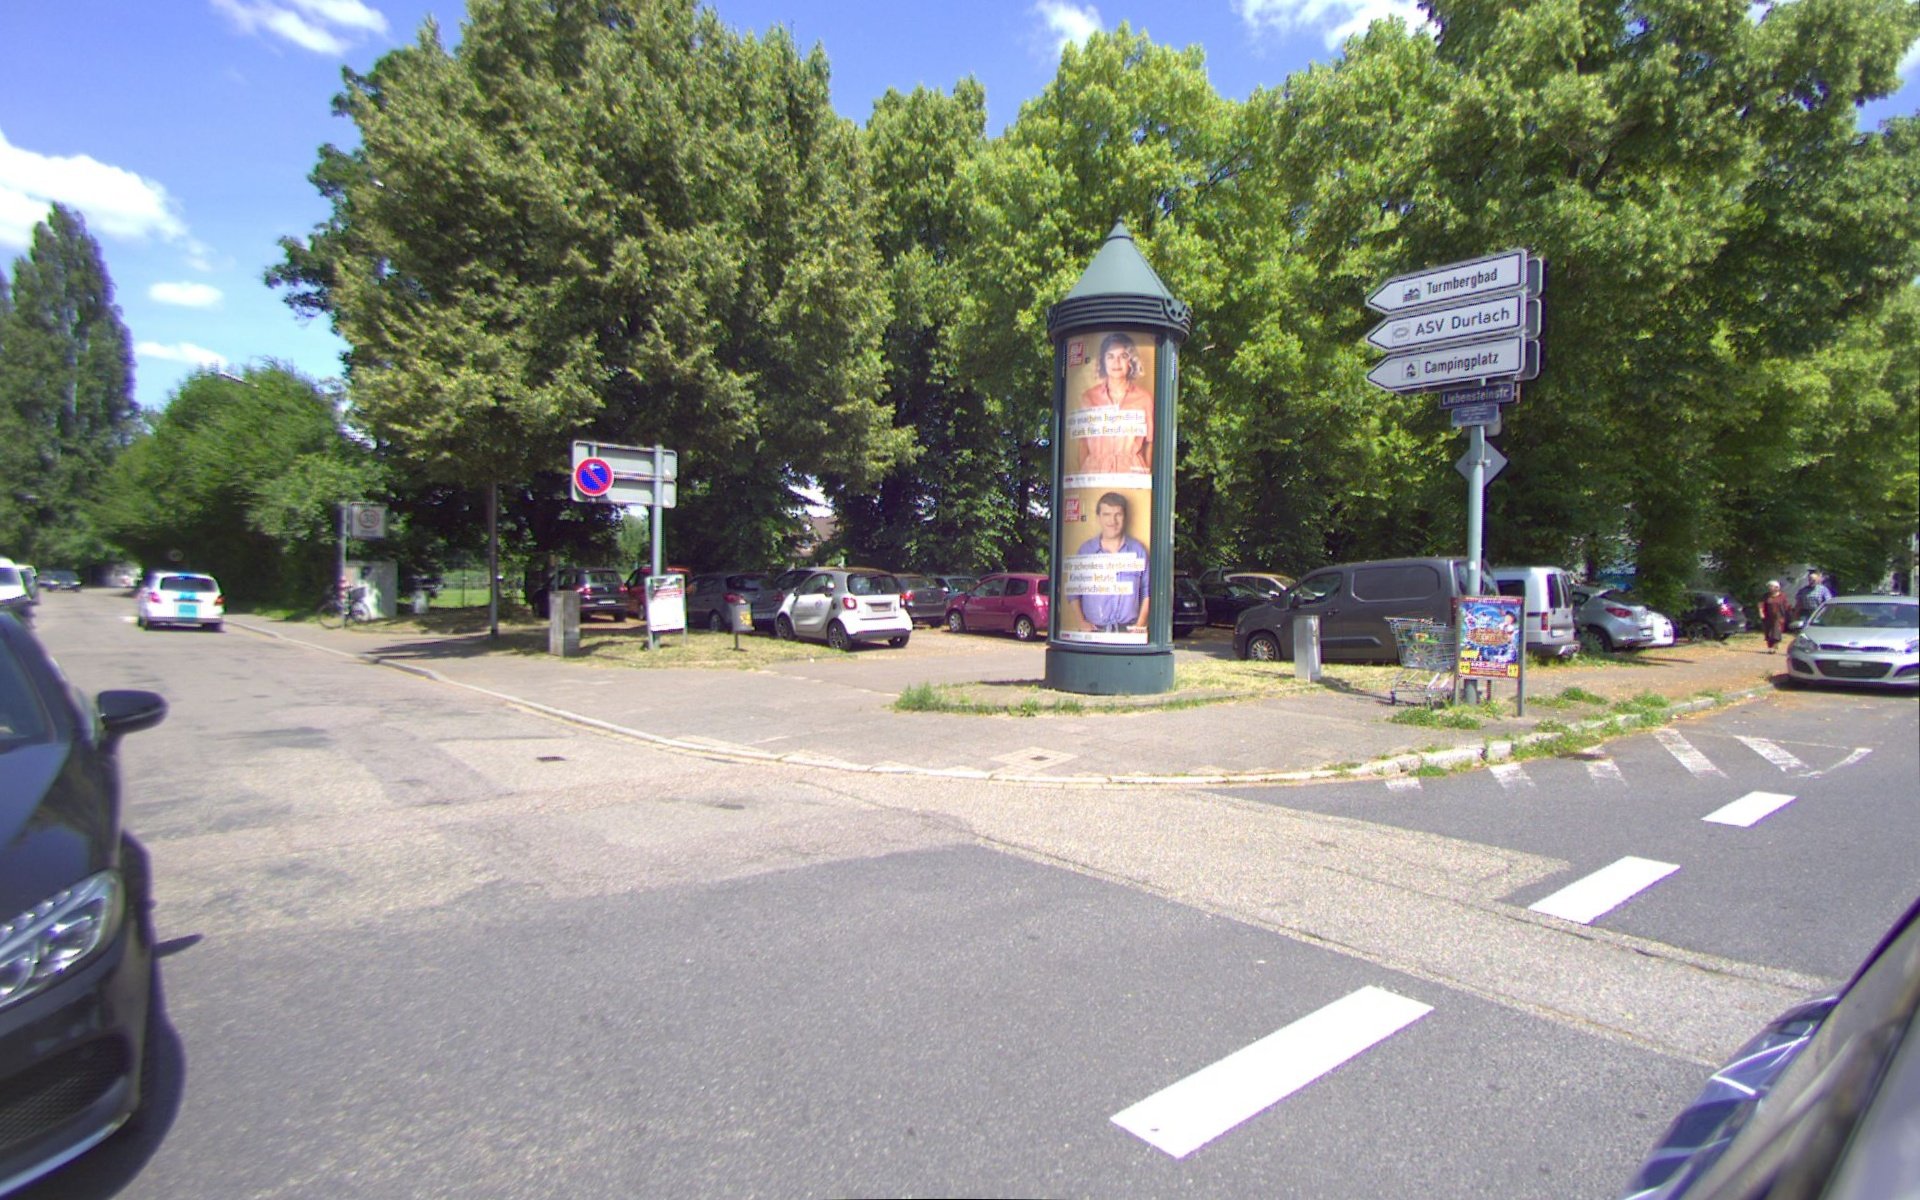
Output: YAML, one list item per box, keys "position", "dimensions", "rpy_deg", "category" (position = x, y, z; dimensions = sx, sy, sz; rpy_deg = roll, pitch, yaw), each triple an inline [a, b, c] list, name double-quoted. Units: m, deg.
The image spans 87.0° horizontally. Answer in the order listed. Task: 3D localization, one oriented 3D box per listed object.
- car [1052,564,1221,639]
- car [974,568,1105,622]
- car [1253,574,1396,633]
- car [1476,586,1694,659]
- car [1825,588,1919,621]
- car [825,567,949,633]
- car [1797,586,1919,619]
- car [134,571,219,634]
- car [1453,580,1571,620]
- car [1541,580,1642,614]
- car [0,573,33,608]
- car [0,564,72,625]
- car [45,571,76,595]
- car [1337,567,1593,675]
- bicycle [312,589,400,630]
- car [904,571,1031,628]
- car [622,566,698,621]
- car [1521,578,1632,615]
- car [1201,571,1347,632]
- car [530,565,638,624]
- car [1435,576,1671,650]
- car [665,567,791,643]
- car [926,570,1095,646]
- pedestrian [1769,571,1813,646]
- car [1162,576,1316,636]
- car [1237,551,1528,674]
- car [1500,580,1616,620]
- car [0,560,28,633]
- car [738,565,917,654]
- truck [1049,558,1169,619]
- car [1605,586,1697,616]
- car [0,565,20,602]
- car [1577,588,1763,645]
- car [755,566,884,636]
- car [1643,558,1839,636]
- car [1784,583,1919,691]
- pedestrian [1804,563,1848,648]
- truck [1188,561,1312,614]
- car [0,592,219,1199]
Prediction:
- position: [4.385, -0.028, 25.595]
  dimensions: [1.673, 1.699, 3.993]
  rpy_deg: [0, 3, -43]
  category: "car"
- position: [2.335, -0.178, 30.318]
  dimensions: [1.708, 1.477, 3.805]
  rpy_deg: [0, 2, -41]
  category: "car"
- position: [11.651, 0.050, 32.555]
  dimensions: [1.771, 1.682, 3.998]
  rpy_deg: [0, 2, -38]
  category: "car"
- position: [14.513, 0.459, 23.678]
  dimensions: [1.638, 1.446, 3.997]
  rpy_deg: [0, 2, -39]
  category: "car"
- position: [46.574, 0.187, 51.476]
  dimensions: [1.823, 1.546, 3.757]
  rpy_deg: [0, 2, -43]
  category: "car"
- position: [-1.986, -0.050, 26.962]
  dimensions: [1.564, 1.573, 3.386]
  rpy_deg: [0, 2, -41]
  category: "car"
- position: [38.233, 0.076, 43.204]
  dimensions: [3.834, 1.375, 1.605]
  rpy_deg: [1, 1, 42]
  category: "car"
- position: [-20.950, 0.030, 26.996]
  dimensions: [1.543, 1.574, 3.993]
  rpy_deg: [0, 1, -42]
  category: "car"
- position: [23.232, -0.021, 42.721]
  dimensions: [1.771, 1.491, 3.998]
  rpy_deg: [0, 2, -38]
  category: "car"
- position: [31.357, -0.179, 50.312]
  dimensions: [1.709, 1.540, 3.948]
  rpy_deg: [0, 2, -44]
  category: "car"
- position: [-40.958, -0.424, 43.423]
  dimensions: [1.600, 1.453, 4.000]
  rpy_deg: [-2, 2, -41]
  category: "car"
- position: [-28.682, -0.214, 31.440]
  dimensions: [1.600, 1.756, 4.790]
  rpy_deg: [-2, 2, -41]
  category: "car"
- position: [-65.681, -1.220, 73.938]
  dimensions: [1.576, 1.717, 3.994]
  rpy_deg: [0, 1, -40]
  category: "car"
- position: [8.958, 0.290, 18.138]
  dimensions: [1.636, 1.688, 3.766]
  rpy_deg: [0, 2, -44]
  category: "car"
- position: [-16.533, 0.250, 27.763]
  dimensions: [1.881, 0.813, 0.707]
  rpy_deg: [-9, 4, -20]
  category: "bicycle"
- position: [0.139, -0.006, 28.746]
  dimensions: [1.657, 1.486, 3.913]
  rpy_deg: [0, 0, -35]
  category: "car"
- position: [-9.946, -0.268, 33.372]
  dimensions: [1.683, 1.688, 3.808]
  rpy_deg: [-1, 2, -28]
  category: "car"
- position: [29.546, -0.196, 48.561]
  dimensions: [4.253, 1.606, 1.790]
  rpy_deg: [3, 2, 44]
  category: "car"
- position: [9.579, -0.006, 31.094]
  dimensions: [1.652, 1.661, 3.994]
  rpy_deg: [0, 3, -41]
  category: "car"
- position: [-11.800, -0.204, 31.662]
  dimensions: [1.839, 1.714, 3.993]
  rpy_deg: [0, 1, -42]
  category: "car"
- position: [12.493, 0.229, 21.512]
  dimensions: [1.777, 1.416, 3.993]
  rpy_deg: [0, 1, -41]
  category: "car"
- position: [-5.391, 0.056, 23.328]
  dimensions: [1.564, 1.573, 3.068]
  rpy_deg: [0, 2, -42]
  category: "car"
- position: [1.109, 0.119, 23.834]
  dimensions: [1.652, 1.547, 3.994]
  rpy_deg: [0, 3, -41]
  category: "car"
- position: [18.227, 0.179, 22.195]
  dimensions: [0.724, 1.613, 0.618]
  rpy_deg: [0, 0, -41]
  category: "pedestrian"
- position: [7.928, 0.113, 29.028]
  dimensions: [1.652, 1.501, 3.994]
  rpy_deg: [0, 3, -41]
  category: "car"
- position: [6.859, 0.146, 16.716]
  dimensions: [1.981, 1.772, 3.994]
  rpy_deg: [0, 1, -40]
  category: "car"
- position: [27.474, -0.037, 46.594]
  dimensions: [1.787, 1.606, 4.261]
  rpy_deg: [0, 2, -41]
  category: "car"
- position: [-24.986, -0.097, 25.857]
  dimensions: [1.601, 1.756, 4.374]
  rpy_deg: [-3, 3, -44]
  category: "car"
- position: [-2.779, 0.109, 20.559]
  dimensions: [1.652, 1.573, 3.994]
  rpy_deg: [0, 3, -41]
  category: "car"
- position: [4.924, -0.425, 33.786]
  dimensions: [1.706, 1.905, 3.808]
  rpy_deg: [0, 2, -38]
  category: "truck"
- position: [37.481, 0.037, 54.951]
  dimensions: [1.709, 1.483, 3.802]
  rpy_deg: [0, 2, -44]
  category: "car"
- position: [-46.018, -0.803, 48.411]
  dimensions: [1.557, 1.682, 3.720]
  rpy_deg: [0, 1, -43]
  category: "car"
- position: [19.960, 0.442, 28.580]
  dimensions: [1.686, 1.492, 3.996]
  rpy_deg: [0, 0, -38]
  category: "car"
- position: [-3.554, -0.029, 25.205]
  dimensions: [1.564, 1.573, 3.386]
  rpy_deg: [0, 2, -41]
  category: "car"
- position: [24.890, -0.086, 32.402]
  dimensions: [2.068, 2.305, 4.612]
  rpy_deg: [0, -1, -39]
  category: "car"
- position: [14.475, 0.496, 15.875]
  dimensions: [3.823, 1.504, 1.770]
  rpy_deg: [0, 1, -41]
  category: "car"
- position: [18.596, 0.119, 21.730]
  dimensions: [0.724, 1.786, 0.618]
  rpy_deg: [0, 0, -41]
  category: "pedestrian"
- position: [10.761, -0.493, 37.772]
  dimensions: [1.844, 1.837, 4.133]
  rpy_deg: [0, 2, -37]
  category: "truck"
- position: [-3.837, 0.688, 3.238]
  dimensions: [1.965, 1.382, 4.588]
  rpy_deg: [0, 1, -41]
  category: "car"
